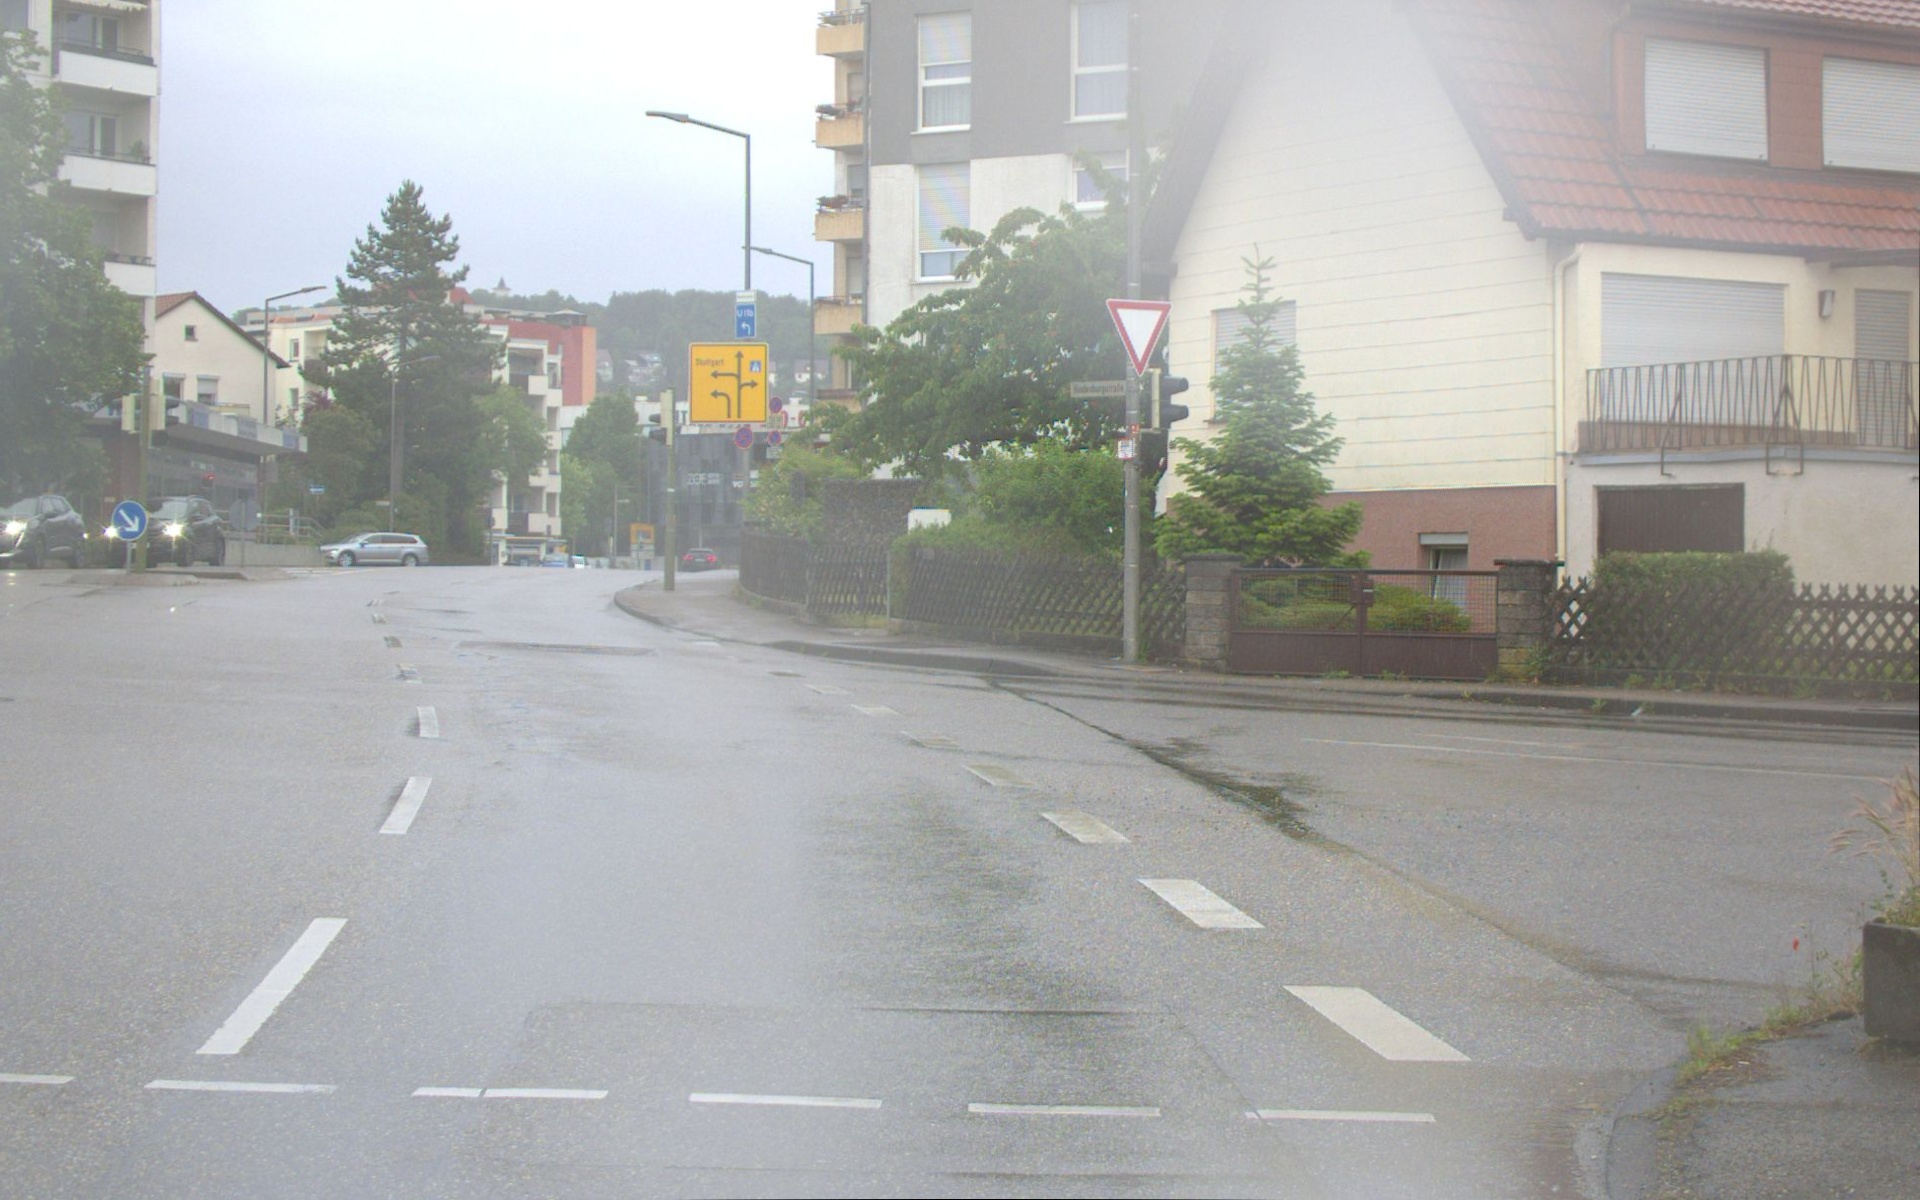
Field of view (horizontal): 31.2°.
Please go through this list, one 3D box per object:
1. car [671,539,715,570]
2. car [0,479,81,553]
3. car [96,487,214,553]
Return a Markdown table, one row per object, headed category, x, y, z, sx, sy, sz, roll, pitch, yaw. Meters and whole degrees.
| category | x | y | z | sx | sy | sz | roll | pitch | yaw |
| --- | --- | --- | --- | --- | --- | --- | --- | --- | --- |
| car | -13.240 | -2.275 | 170.672 | 1.813 | 1.481 | 4.189 | 0 | 2 | 0 |
| car | -18.486 | -1.655 | 67.001 | 1.715 | 1.382 | 4.021 | 1 | 2 | -1 |
| car | -18.025 | -1.813 | 77.118 | 1.778 | 1.415 | 3.831 | 1 | 2 | -1 |
